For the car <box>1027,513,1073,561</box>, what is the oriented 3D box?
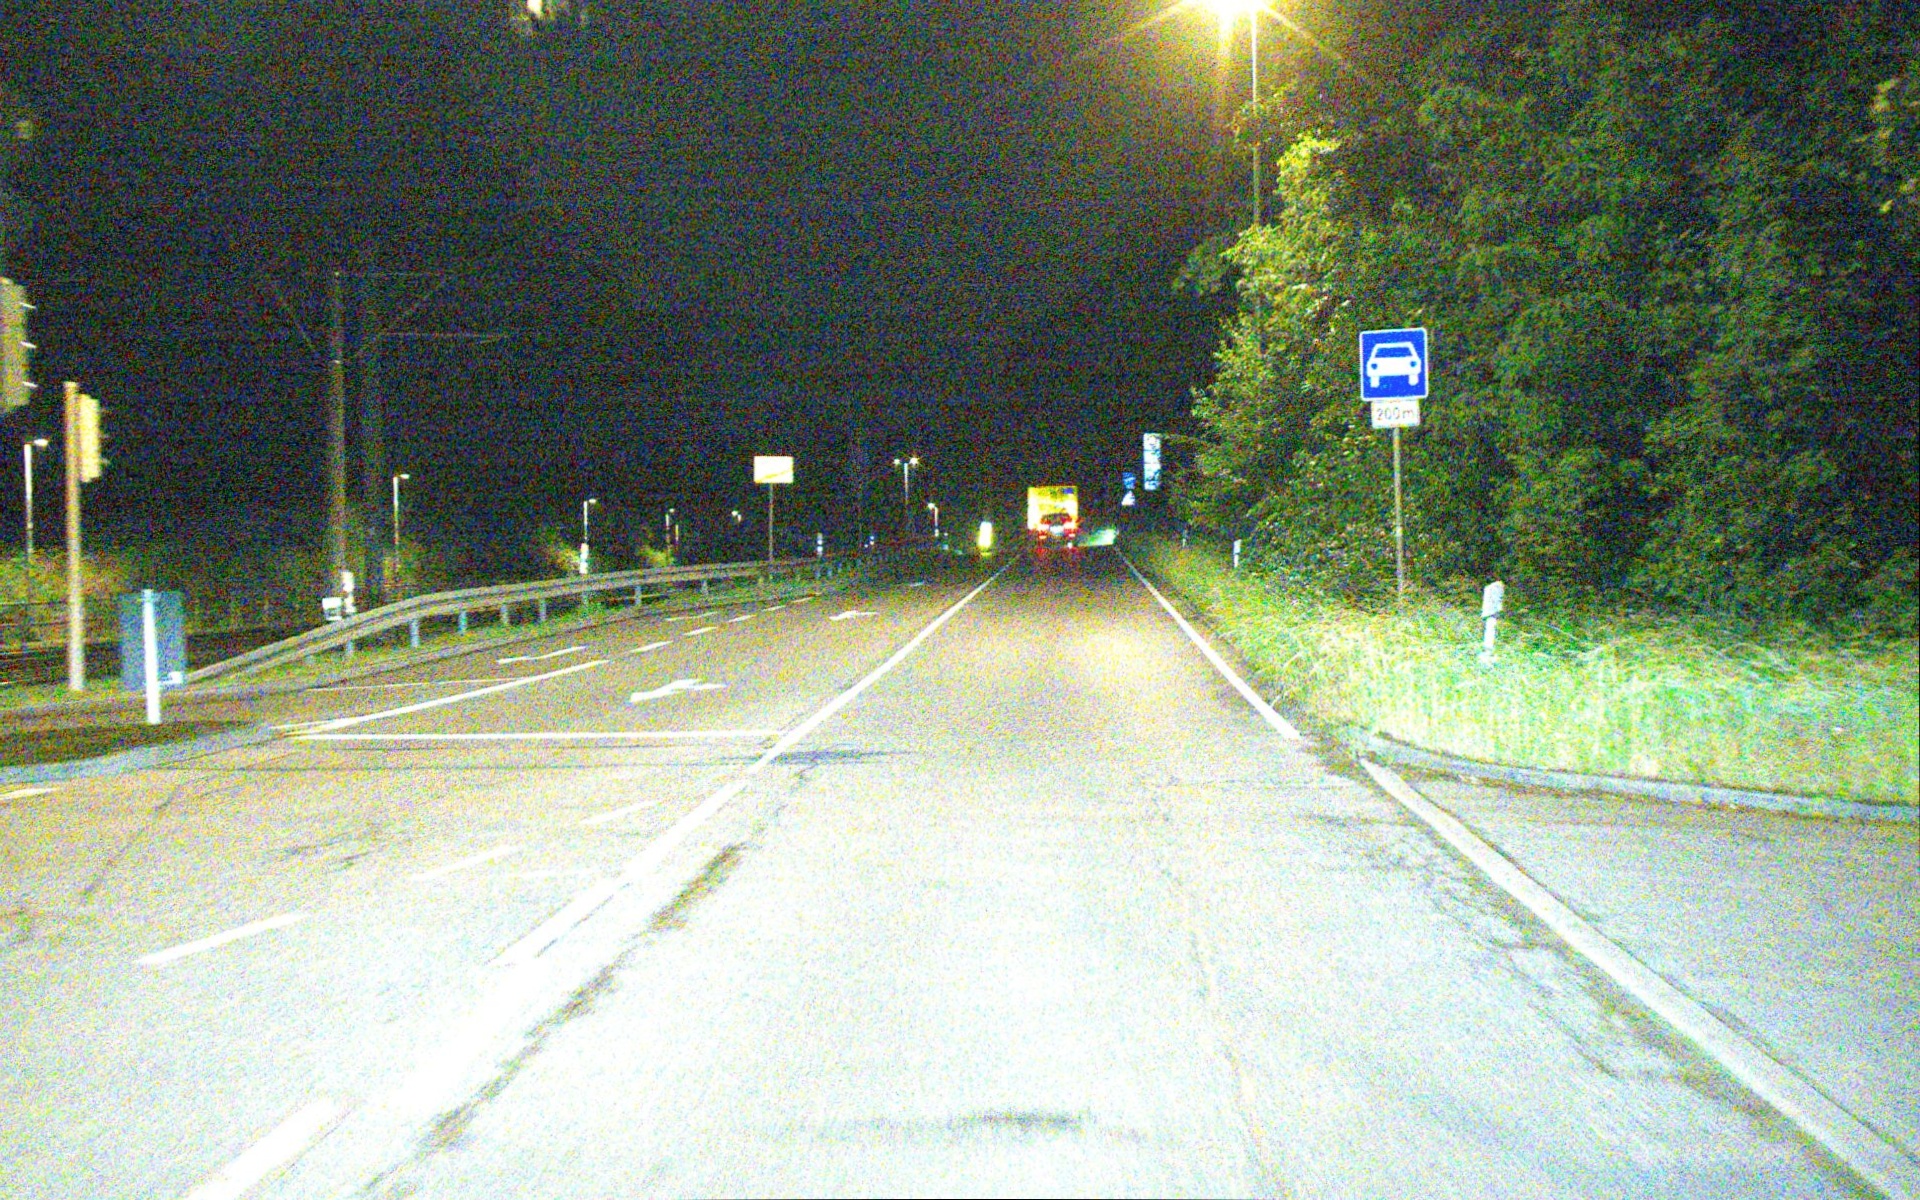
[{"bbox_3d":[4.036,-2.820,154.696,1.993,2.007,3.999,0,-1,1],"label":"car"}]
